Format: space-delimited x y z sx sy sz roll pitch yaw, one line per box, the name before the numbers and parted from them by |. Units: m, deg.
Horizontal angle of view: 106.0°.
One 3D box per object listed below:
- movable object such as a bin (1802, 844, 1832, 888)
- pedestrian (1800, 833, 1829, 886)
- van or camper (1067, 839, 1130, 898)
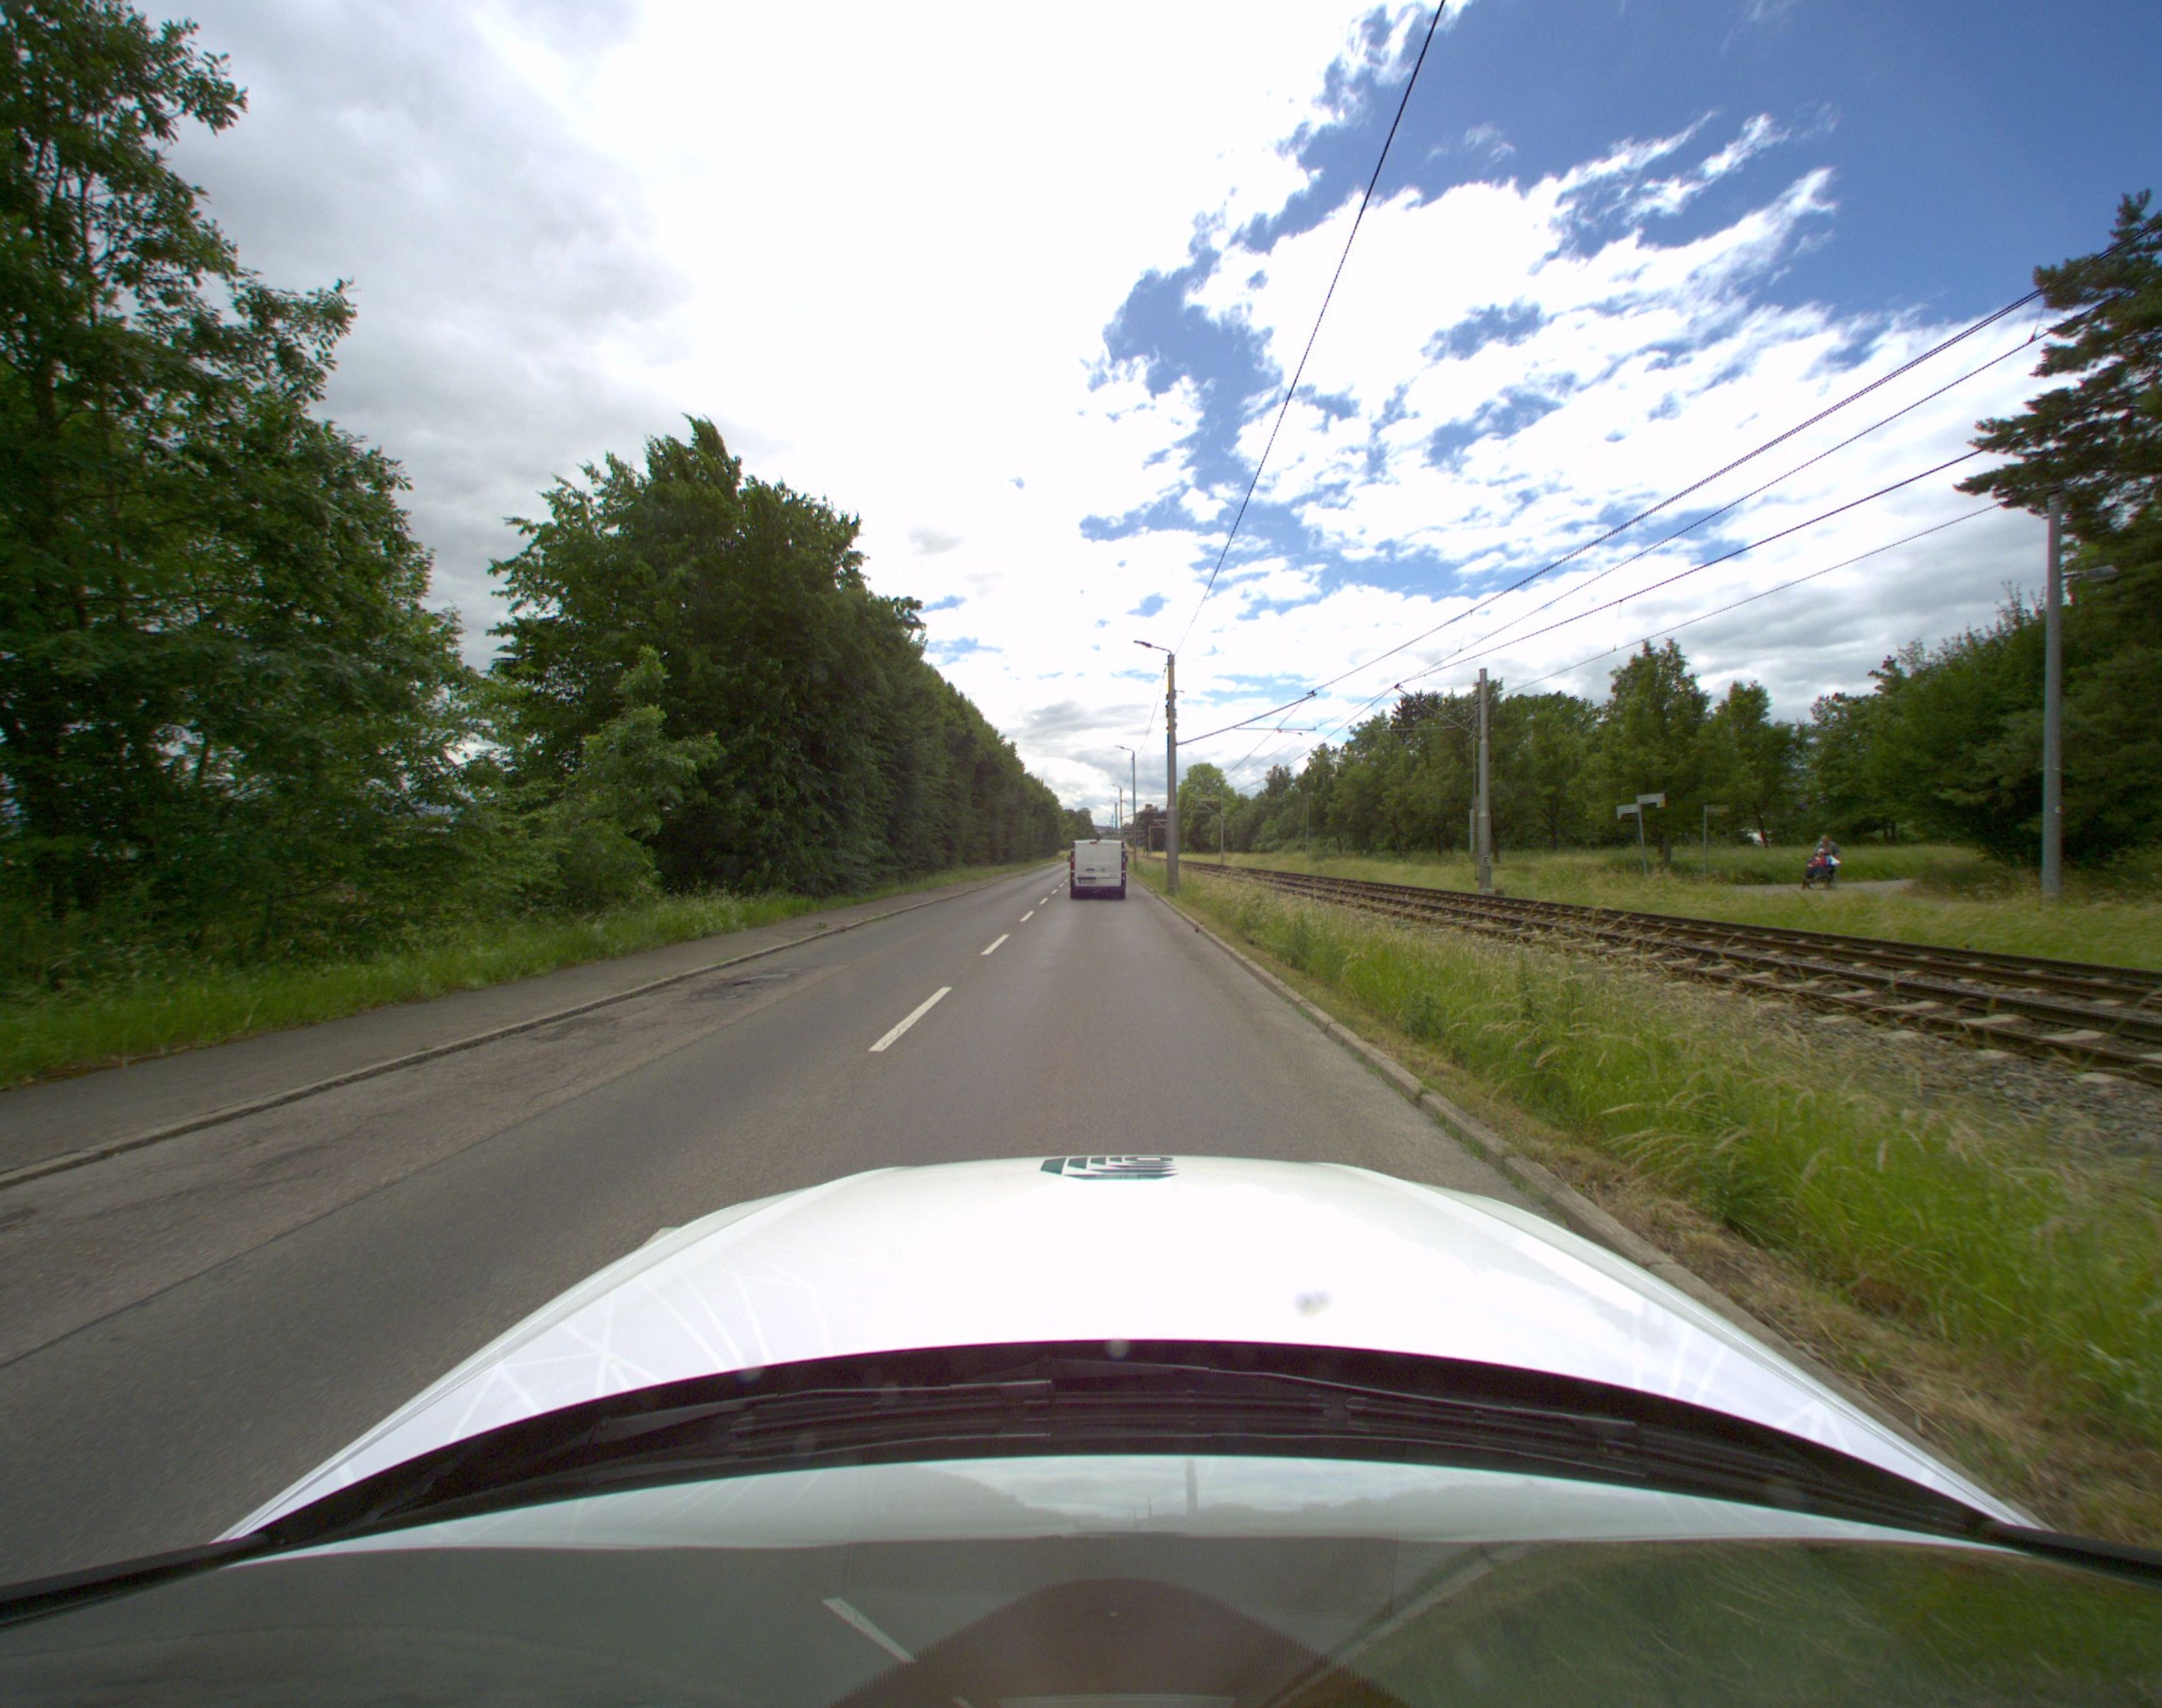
movable object such as a bin | 22.805 0.346 25.236 0.651 1.310 1.653 -2 0 42
pedestrian | 23.638 0.165 26.253 0.650 1.667 0.964 -2 -1 42
van or camper | 0.515 0.464 28.248 1.937 1.897 4.281 0 0 -2
